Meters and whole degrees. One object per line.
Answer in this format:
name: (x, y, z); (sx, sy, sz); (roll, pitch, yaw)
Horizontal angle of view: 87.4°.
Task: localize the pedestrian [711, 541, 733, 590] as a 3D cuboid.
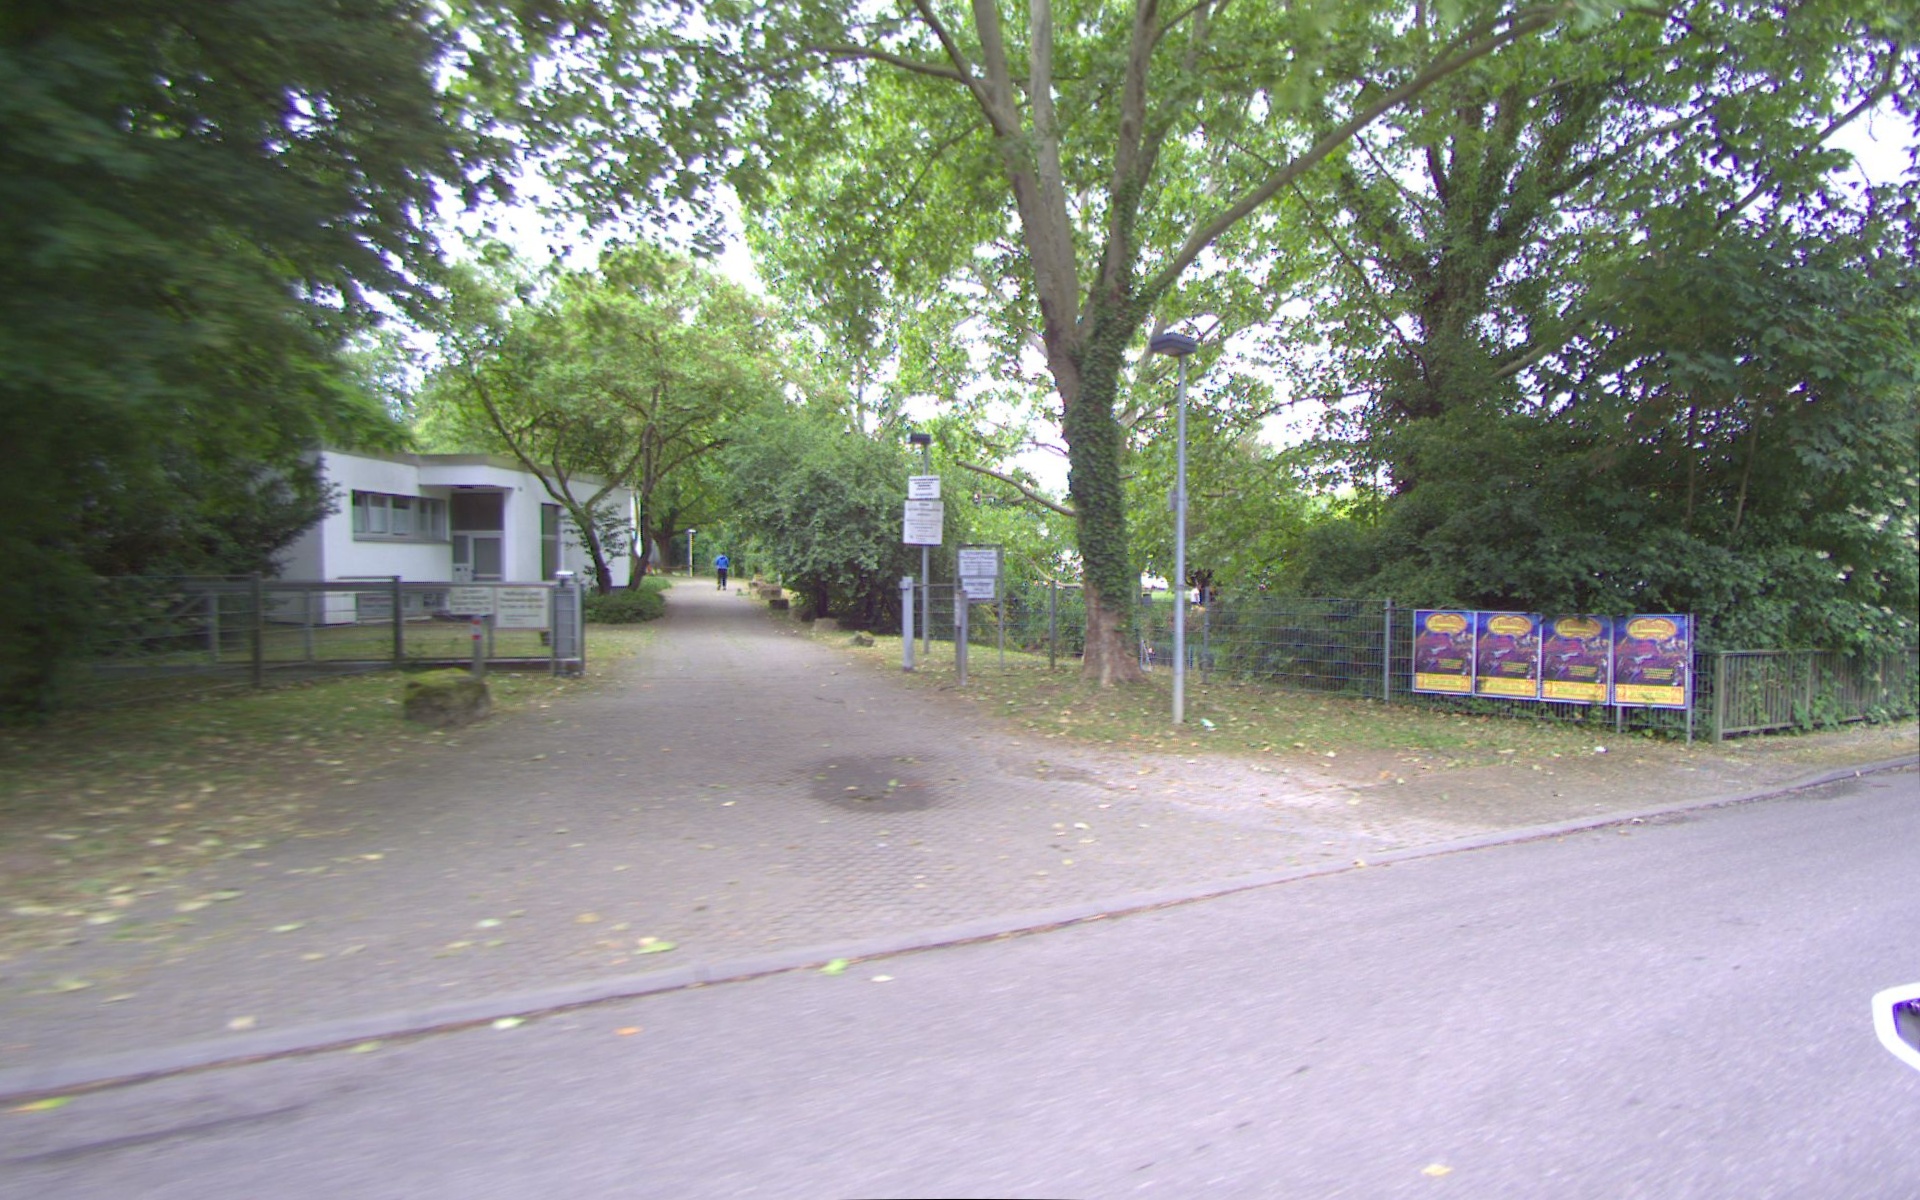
pedestrian: (-10.120, -1.447, 42.733); (0.783, 2.040, 0.991); (2, 1, -12)
